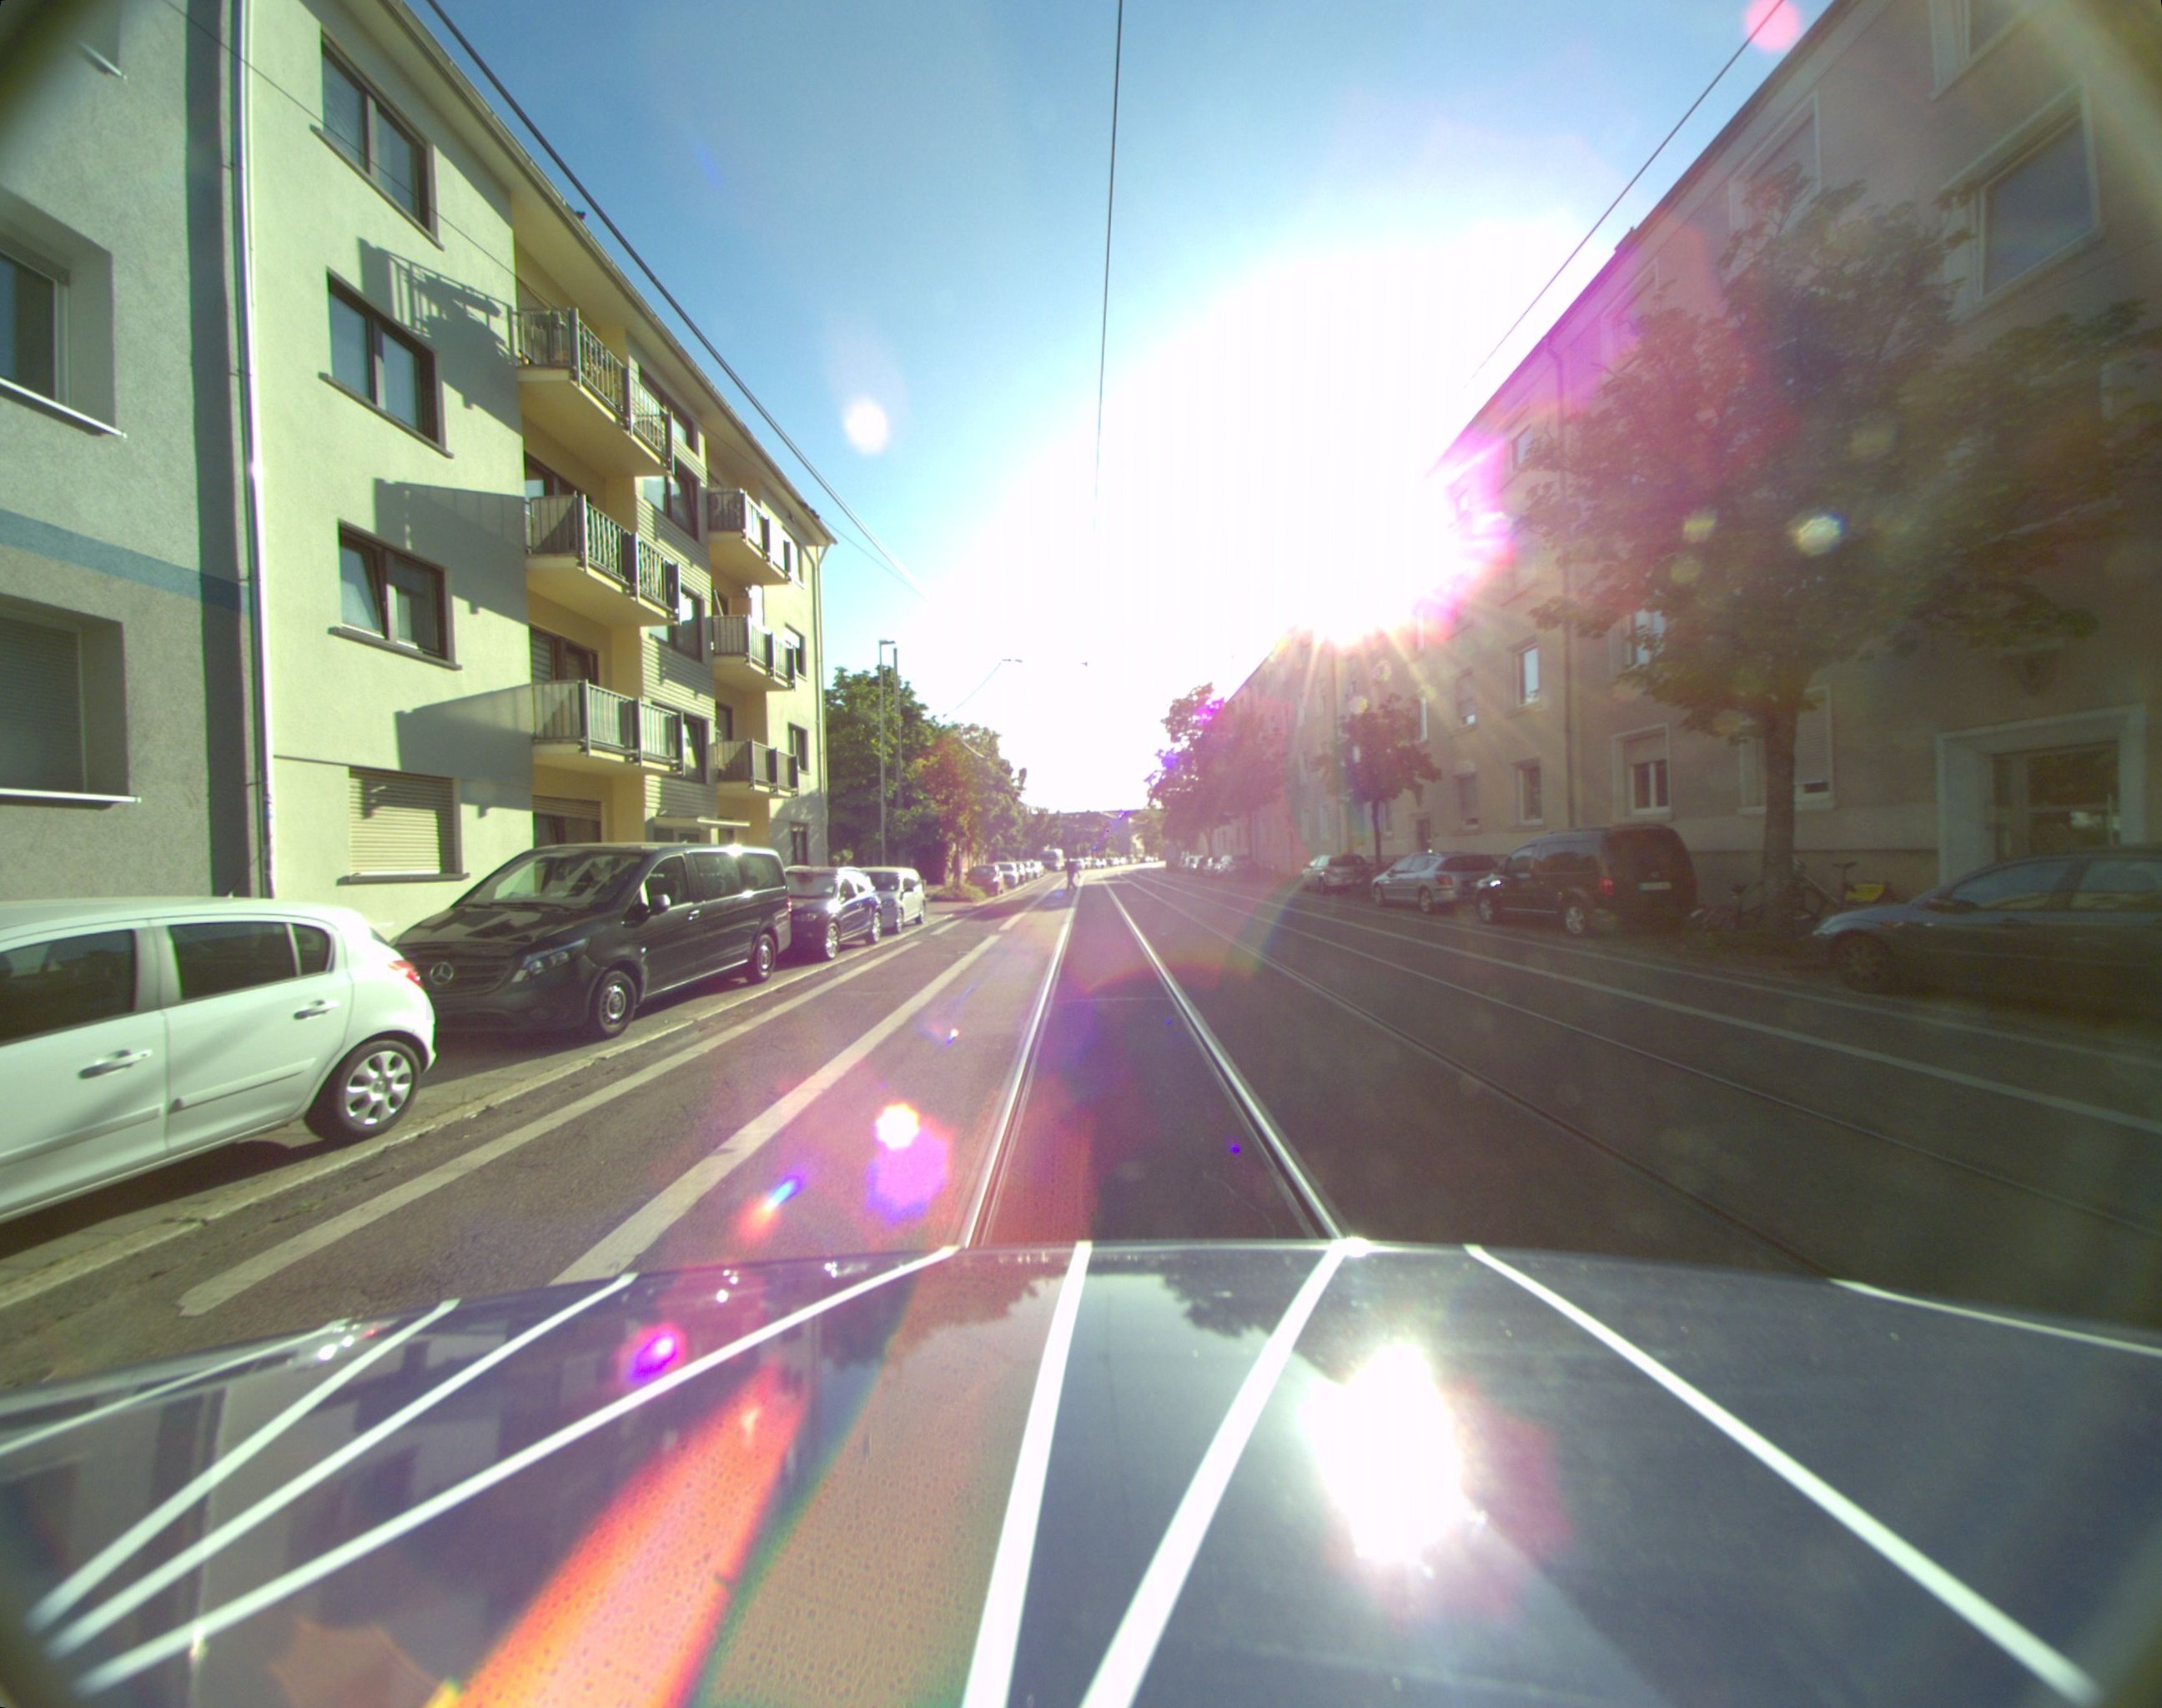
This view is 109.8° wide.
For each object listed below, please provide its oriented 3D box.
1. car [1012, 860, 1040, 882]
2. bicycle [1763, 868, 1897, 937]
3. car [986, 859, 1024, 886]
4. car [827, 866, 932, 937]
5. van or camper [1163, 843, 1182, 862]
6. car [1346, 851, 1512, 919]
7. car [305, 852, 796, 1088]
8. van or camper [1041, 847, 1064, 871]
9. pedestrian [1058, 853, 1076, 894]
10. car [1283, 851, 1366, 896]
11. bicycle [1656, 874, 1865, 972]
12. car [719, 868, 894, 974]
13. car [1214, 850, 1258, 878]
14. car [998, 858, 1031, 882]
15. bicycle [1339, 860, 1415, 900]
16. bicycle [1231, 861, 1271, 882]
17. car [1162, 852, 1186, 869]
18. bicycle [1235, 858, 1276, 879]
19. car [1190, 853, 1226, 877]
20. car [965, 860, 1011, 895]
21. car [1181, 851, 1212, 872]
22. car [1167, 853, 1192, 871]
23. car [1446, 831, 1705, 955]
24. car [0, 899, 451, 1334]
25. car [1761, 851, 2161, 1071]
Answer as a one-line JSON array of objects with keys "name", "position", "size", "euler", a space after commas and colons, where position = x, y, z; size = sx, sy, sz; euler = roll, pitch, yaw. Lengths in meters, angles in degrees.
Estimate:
[{"name": "car", "position": [-4.150, 1.259, 57.901], "size": [1.828, 1.562, 4.478], "euler": [0, 0, 0]}, {"name": "bicycle", "position": [11.460, 0.709, 11.690], "size": [0.485, 0.958, 1.506], "euler": [-2, 0, -4]}, {"name": "car", "position": [-4.627, 1.103, 46.815], "size": [1.828, 1.562, 4.478], "euler": [0, 0, 0]}, {"name": "car", "position": [-4.842, 1.084, 18.722], "size": [1.557, 1.533, 3.632], "euler": [0, 0, 1]}, {"name": "van or camper", "position": [12.344, -0.223, 102.940], "size": [2.074, 2.400, 5.500], "euler": [-2, 0, 3]}, {"name": "car", "position": [8.724, 0.692, 19.599], "size": [1.770, 1.464, 4.857], "euler": [-2, 0, -4]}, {"name": "car", "position": [-5.228, 0.933, 8.643], "size": [1.934, 1.910, 5.004], "euler": [0, 0, 2]}, {"name": "van or camper", "position": [-3.281, 0.506, 88.122], "size": [2.090, 2.548, 5.693], "euler": [-2, 1, 3]}, {"name": "pedestrian", "position": [-0.629, 0.870, 34.281], "size": [0.801, 1.800, 0.946], "euler": [0, 1, 1]}, {"name": "car", "position": [9.073, 0.675, 28.690], "size": [1.769, 1.464, 4.753], "euler": [-2, 0, 3]}, {"name": "bicycle", "position": [9.158, 0.911, 10.294], "size": [2.117, 1.099, 0.746], "euler": [-5, 1, -1]}, {"name": "car", "position": [-4.806, 1.090, 13.980], "size": [1.612, 1.562, 4.219], "euler": [0, 0, 1]}, {"name": "car", "position": [9.557, 0.594, 47.086], "size": [1.688, 1.614, 4.047], "euler": [-2, 0, -2]}, {"name": "car", "position": [-4.522, 1.083, 52.337], "size": [1.828, 1.562, 4.478], "euler": [0, 0, 0]}, {"name": "bicycle", "position": [9.459, 0.834, 24.309], "size": [2.149, 1.136, 0.659], "euler": [-3, 1, -3]}, {"name": "bicycle", "position": [9.784, 1.008, 43.738], "size": [2.149, 1.136, 0.535], "euler": [-2, 1, -3]}, {"name": "car", "position": [9.037, 0.597, 74.259], "size": [1.688, 1.542, 3.950], "euler": [-2, 0, -2]}, {"name": "bicycle", "position": [9.855, 0.809, 42.975], "size": [2.149, 1.136, 0.530], "euler": [-2, 1, -3]}, {"name": "car", "position": [8.778, 0.750, 52.807], "size": [1.688, 1.542, 4.047], "euler": [-2, 0, -2]}, {"name": "car", "position": [-4.520, 1.098, 37.321], "size": [1.612, 1.562, 4.478], "euler": [0, 0, 1]}, {"name": "car", "position": [9.249, 0.584, 60.956], "size": [1.688, 1.542, 4.047], "euler": [-2, 0, -2]}, {"name": "car", "position": [9.022, 0.721, 69.823], "size": [1.688, 1.542, 3.714], "euler": [-2, 0, -2]}, {"name": "car", "position": [8.892, 0.615, 14.241], "size": [1.770, 1.835, 4.423], "euler": [-4, 0, -2]}, {"name": "car", "position": [-5.096, 1.085, 3.080], "size": [1.805, 1.562, 3.904], "euler": [0, 0, 0]}, {"name": "car", "position": [8.663, 0.770, 6.586], "size": [1.769, 1.464, 4.181], "euler": [-4, 0, 1]}]
